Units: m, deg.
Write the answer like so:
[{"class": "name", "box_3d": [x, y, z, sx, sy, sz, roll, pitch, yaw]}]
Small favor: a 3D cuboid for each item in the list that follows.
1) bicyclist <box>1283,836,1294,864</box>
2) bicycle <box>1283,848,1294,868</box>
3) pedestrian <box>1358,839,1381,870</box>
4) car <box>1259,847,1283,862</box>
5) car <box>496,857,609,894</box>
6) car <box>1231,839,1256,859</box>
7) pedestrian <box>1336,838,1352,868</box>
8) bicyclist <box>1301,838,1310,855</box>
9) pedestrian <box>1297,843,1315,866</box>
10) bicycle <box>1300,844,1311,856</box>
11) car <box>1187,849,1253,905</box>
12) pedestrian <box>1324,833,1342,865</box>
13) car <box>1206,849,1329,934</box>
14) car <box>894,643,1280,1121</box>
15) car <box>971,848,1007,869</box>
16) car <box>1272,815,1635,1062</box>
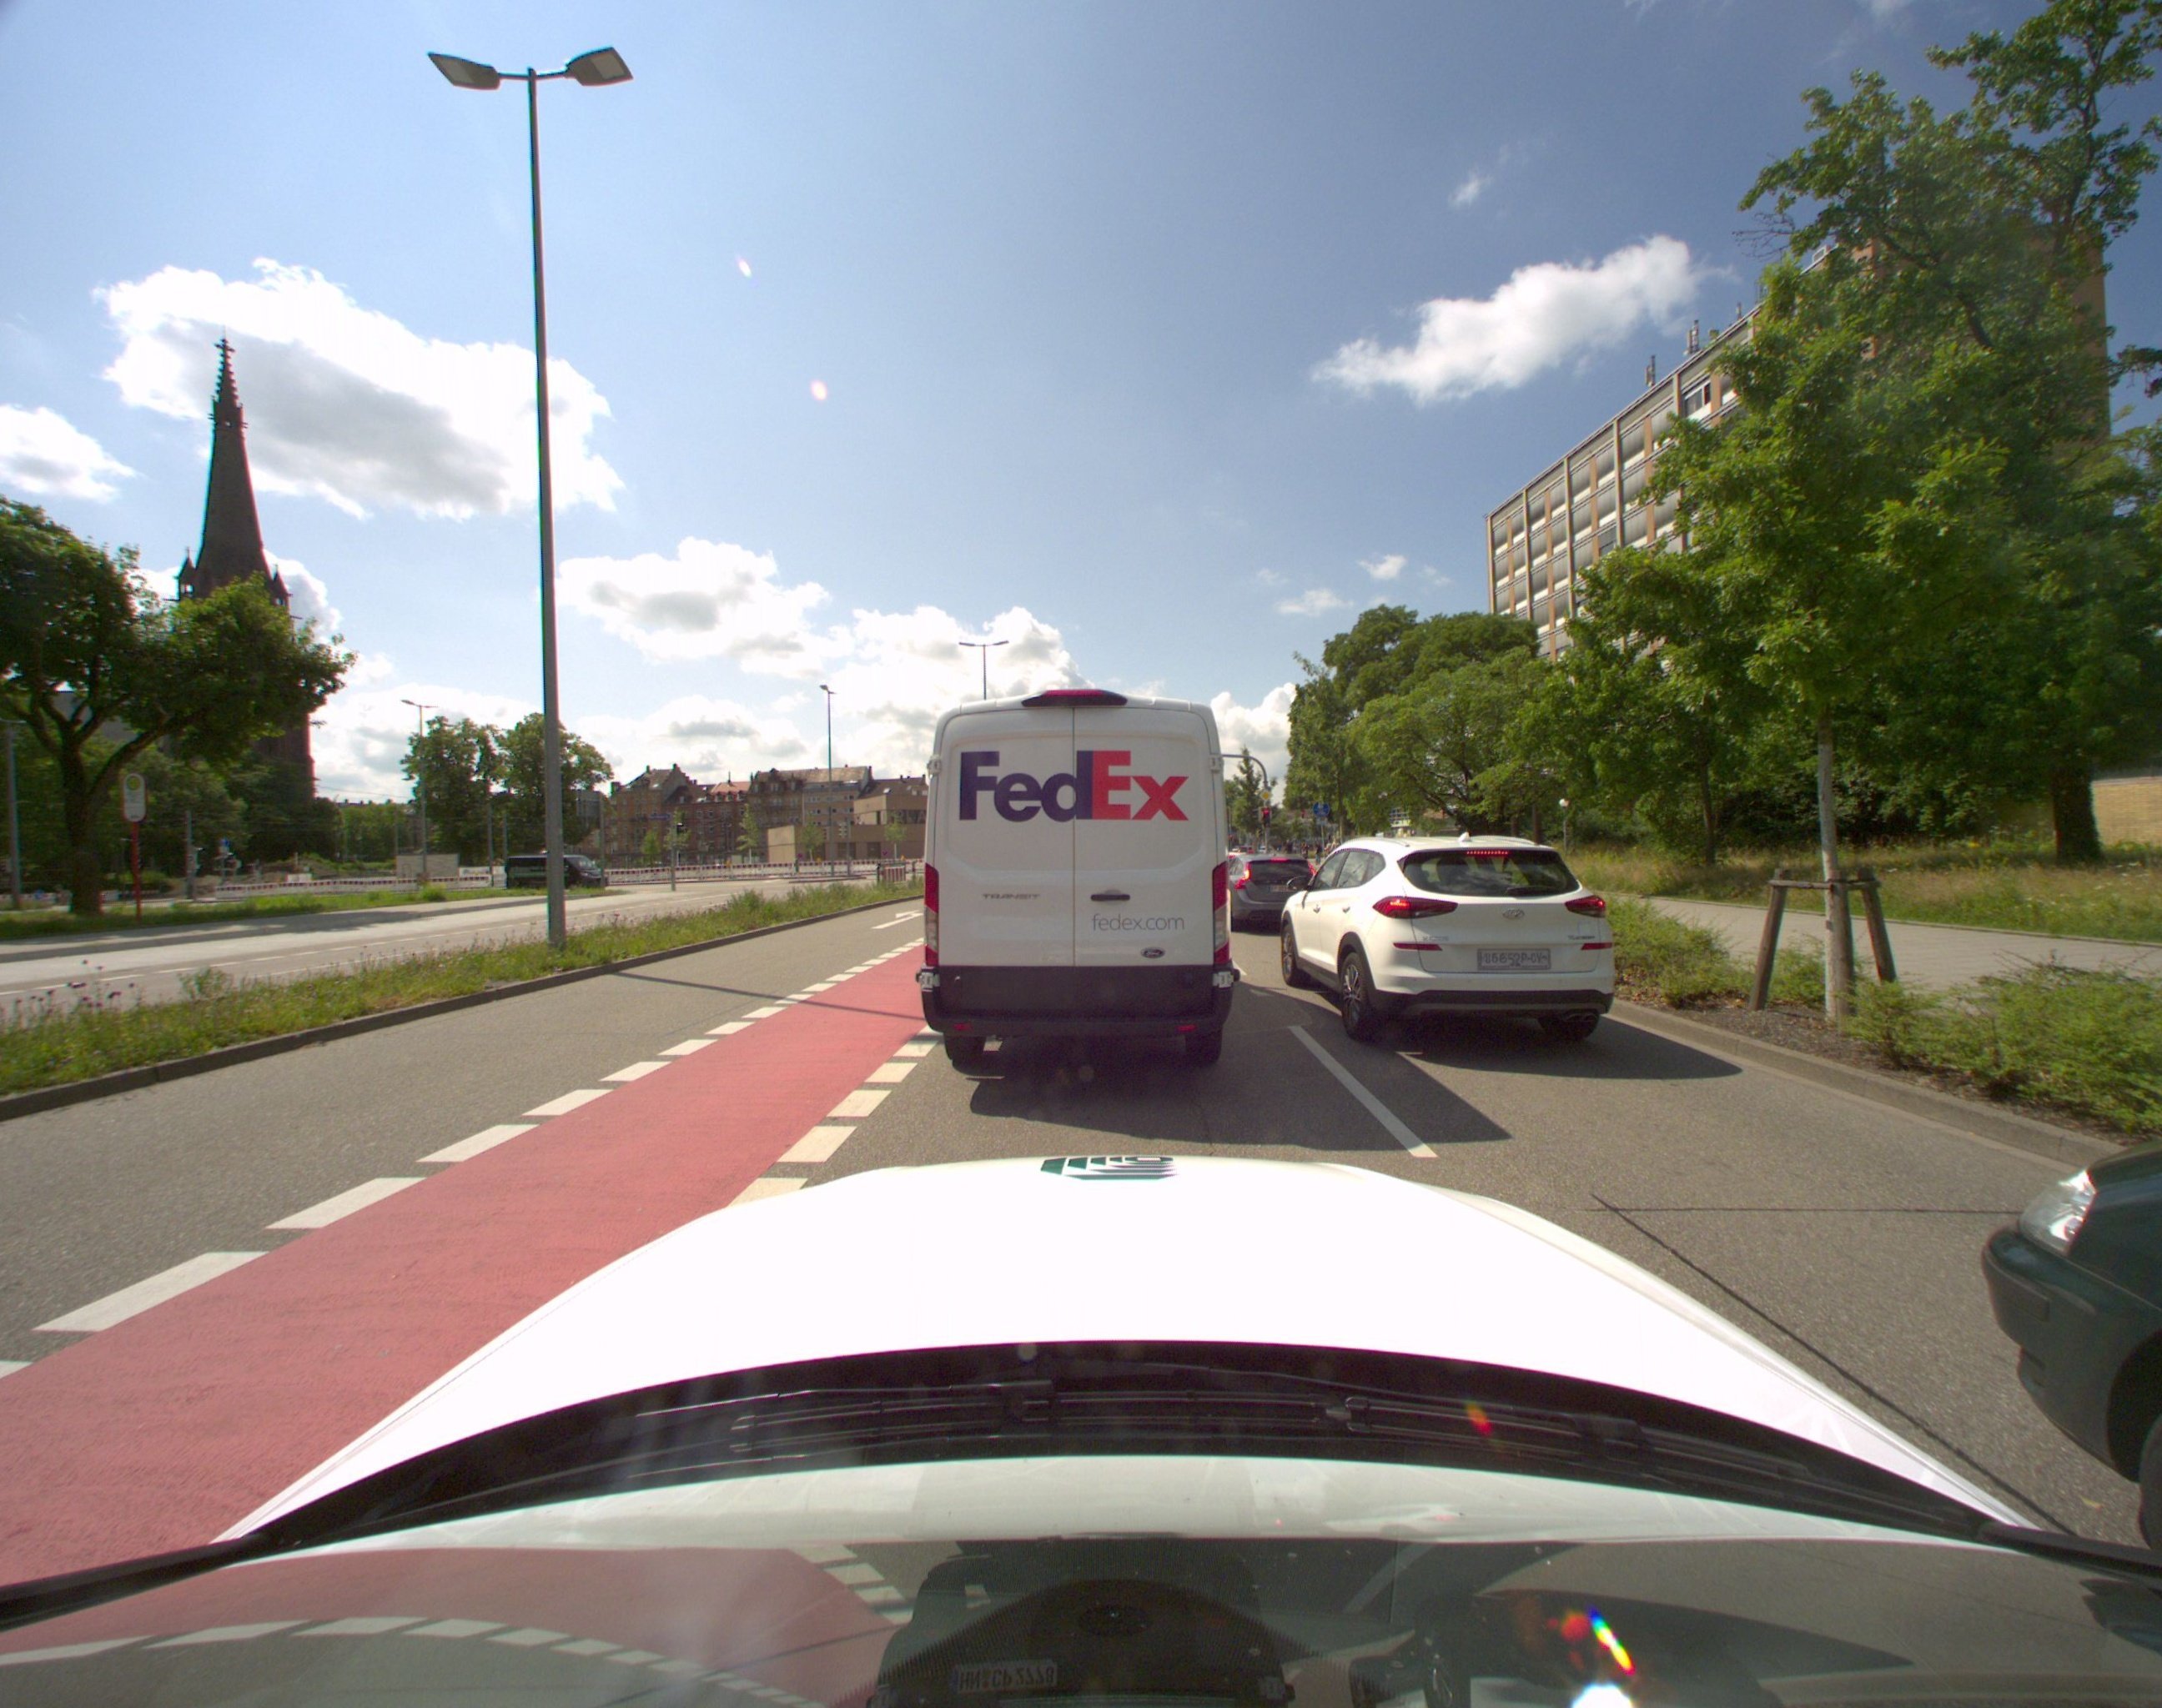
[{"class": "bicyclist", "box_3d": [14.215, -0.280, 55.758, 0.587, 1.844, 1.126, -2, 1, 11]}, {"class": "bicycle", "box_3d": [14.252, 0.249, 55.892, 0.598, 1.290, 2.077, -2, 0, 11]}, {"class": "pedestrian", "box_3d": [14.985, 0.031, 42.298, 0.842, 1.539, 0.835, -2, 0, 1]}, {"class": "car", "box_3d": [24.100, 0.016, 103.159, 1.975, 1.794, 4.397, -2, -1, 26]}, {"class": "car", "box_3d": [-29.710, 1.185, 45.874, 4.995, 1.879, 1.928, -2, 0, -2]}, {"class": "car", "box_3d": [17.910, -0.556, 89.598, 2.076, 2.014, 4.666, -2, -1, 18]}, {"class": "pedestrian", "box_3d": [17.685, -0.054, 54.749, 0.842, 2.013, 0.741, -2, 0, 1]}, {"class": "bicyclist", "box_3d": [19.634, -0.665, 71.315, 0.547, 1.474, 0.972, -2, 0, 4]}, {"class": "pedestrian", "box_3d": [13.611, 0.013, 49.317, 0.842, 1.389, 0.741, -2, 0, 1]}, {"class": "bicycle", "box_3d": [19.635, -0.352, 71.261, 0.543, 1.030, 1.929, -2, 0, 4]}, {"class": "car", "box_3d": [3.882, 0.609, 23.145, 1.478, 1.428, 3.436, -2, 0, 4]}, {"class": "pedestrian", "box_3d": [16.728, -0.336, 54.053, 0.843, 2.058, 0.739, -2, 0, -5]}, {"class": "car", "box_3d": [3.609, 0.654, 16.390, 1.790, 1.461, 3.842, -2, 0, 4]}, {"class": "car", "box_3d": [0.031, 0.150, 7.438, 2.134, 2.652, 5.703, -1, 0, 0]}, {"class": "car", "box_3d": [-8.863, 0.424, 78.966, 1.978, 2.014, 4.017, -2, -1, 16]}, {"class": "car", "box_3d": [3.064, 0.580, 7.694, 1.790, 1.687, 4.004, -2, 0, 4]}]
